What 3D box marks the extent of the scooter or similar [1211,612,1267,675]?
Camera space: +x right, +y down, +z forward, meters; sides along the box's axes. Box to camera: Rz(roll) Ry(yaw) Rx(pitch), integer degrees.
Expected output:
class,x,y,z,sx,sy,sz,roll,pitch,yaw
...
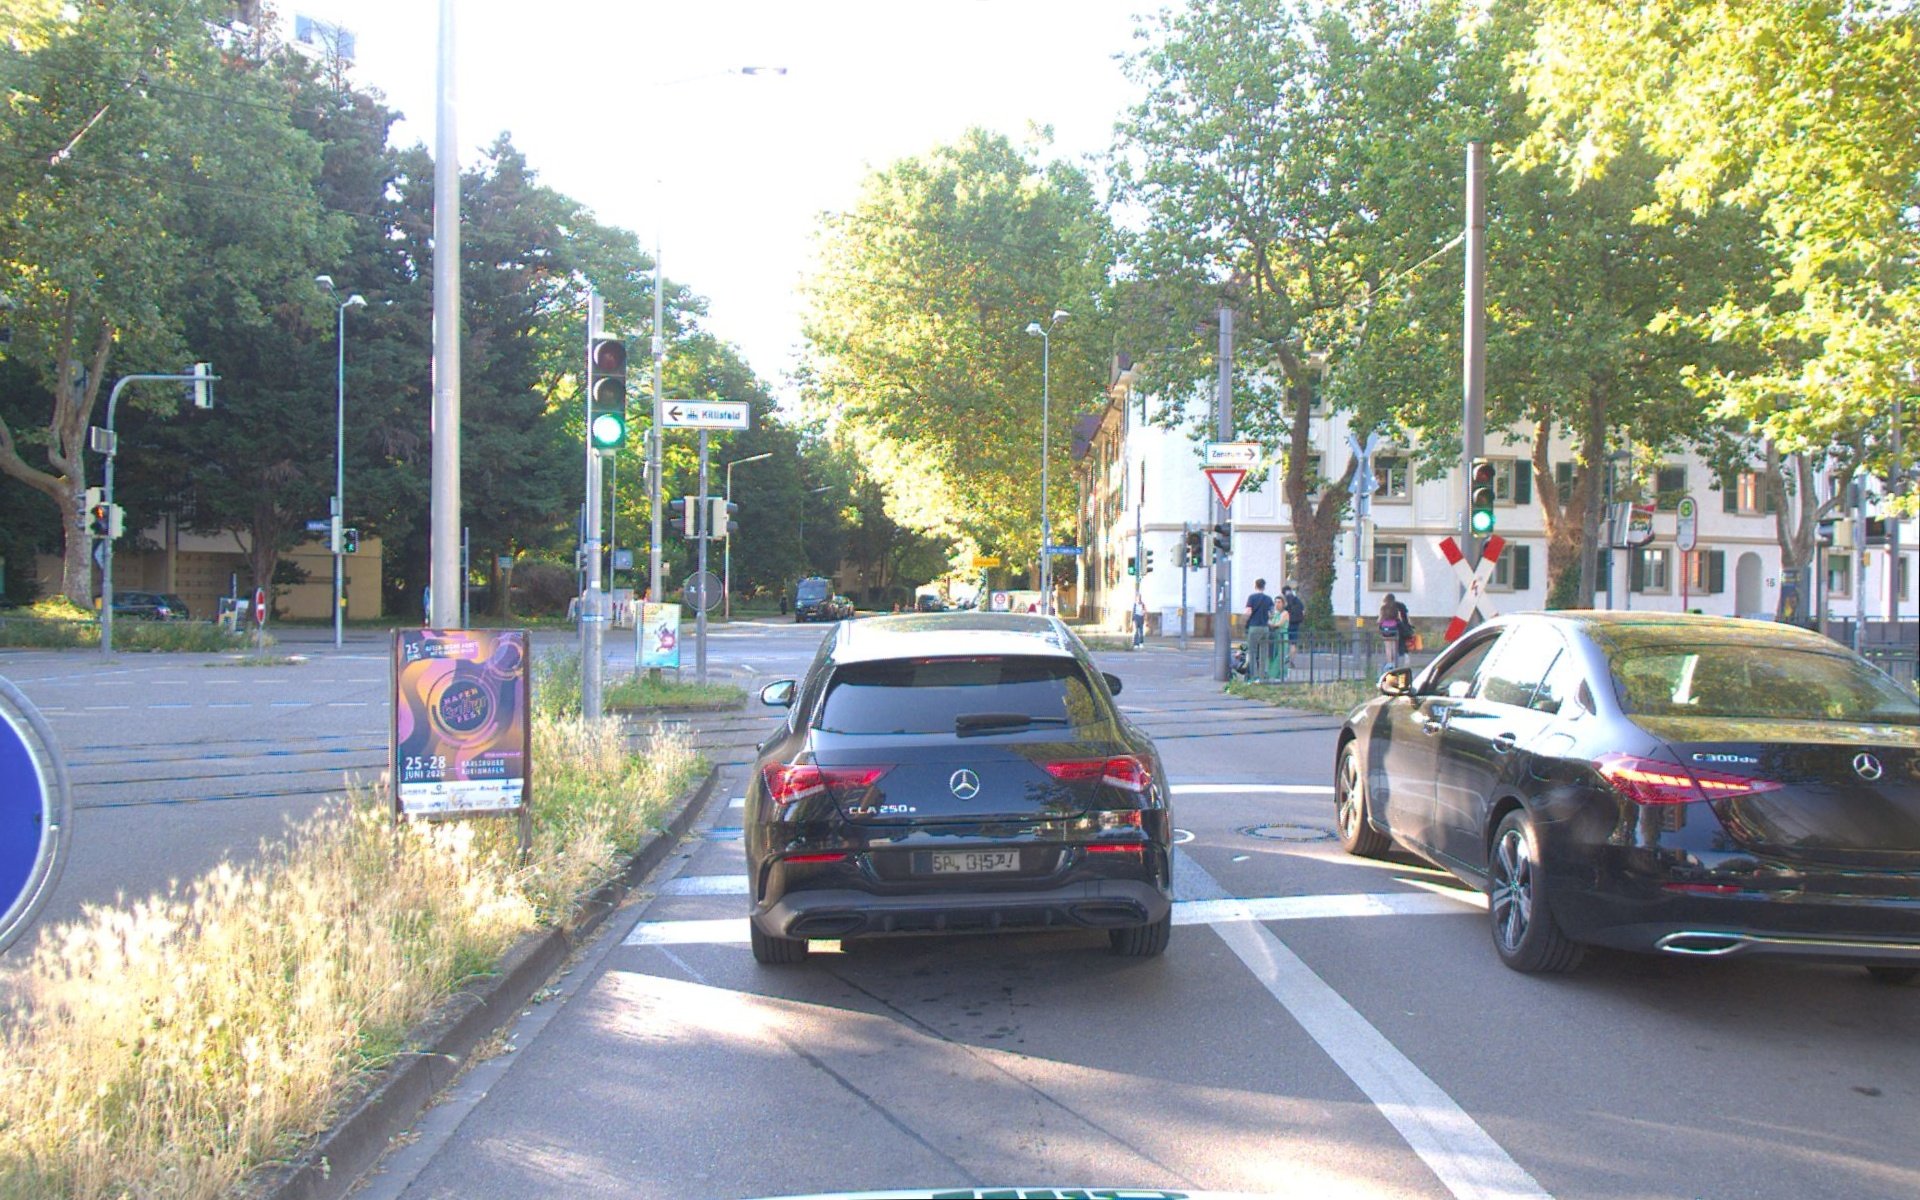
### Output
class,x,y,z,sx,sy,sz,roll,pitch,yaw
scooter or similar,5.120,0.799,30.413,0.812,1.124,0.808,1,-1,-6

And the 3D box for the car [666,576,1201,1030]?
class,x,y,z,sx,sy,sz,roll,pitch,yaw
car,-0.073,0.687,7.816,1.851,1.475,4.001,1,2,1

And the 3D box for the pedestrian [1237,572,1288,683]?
class,x,y,z,sx,sy,sz,roll,pitch,yaw
pedestrian,5.403,0.492,29.575,0.692,1.951,0.683,1,-1,-8

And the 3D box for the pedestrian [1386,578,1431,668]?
class,x,y,z,sx,sy,sz,roll,pitch,yaw
pedestrian,9.886,0.509,36.484,0.691,1.951,0.838,1,-1,-4

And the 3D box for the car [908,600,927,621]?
class,x,y,z,sx,sy,sz,roll,pitch,yaw
car,-3.838,0.942,149.996,1.698,1.796,4.018,1,-1,-1

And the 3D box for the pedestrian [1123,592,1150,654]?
class,x,y,z,sx,sy,sz,roll,pitch,yaw
pedestrian,5.622,0.745,52.749,0.691,1.951,0.838,1,-1,-4

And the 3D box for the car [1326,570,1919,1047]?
class,x,y,z,sx,sy,sz,roll,pitch,yaw
car,3.145,0.674,7.759,1.851,1.516,4.382,1,2,0

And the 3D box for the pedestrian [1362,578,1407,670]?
class,x,y,z,sx,sy,sz,roll,pitch,yaw
pedestrian,9.095,0.515,35.472,0.691,1.951,0.838,1,-1,-4

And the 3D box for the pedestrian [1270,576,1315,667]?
class,x,y,z,sx,sy,sz,roll,pitch,yaw
pedestrian,7.261,0.466,36.151,0.692,1.951,0.838,1,-1,-8

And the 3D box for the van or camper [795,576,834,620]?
class,x,y,z,sx,sy,sz,roll,pitch,yaw
van or camper,-8.713,-0.097,99.298,1.953,2.586,4.650,1,-1,-1

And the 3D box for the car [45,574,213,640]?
class,x,y,z,sx,sy,sz,roll,pitch,yaw
car,-24.340,0.205,48.548,3.902,1.805,2.001,1,-1,7

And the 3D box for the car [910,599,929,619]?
class,x,y,z,sx,sy,sz,roll,pitch,yaw
car,-3.879,0.866,158.080,1.698,1.796,4.018,1,-1,-1

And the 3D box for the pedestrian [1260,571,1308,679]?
class,x,y,z,sx,sy,sz,roll,pitch,yaw
pedestrian,5.953,0.458,30.439,0.669,1.951,0.706,1,-1,-5

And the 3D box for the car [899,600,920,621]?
class,x,y,z,sx,sy,sz,roll,pitch,yaw
car,-4.416,0.951,145.167,1.698,1.796,4.018,1,-1,-1

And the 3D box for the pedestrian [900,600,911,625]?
class,x,y,z,sx,sy,sz,roll,pitch,yaw
pedestrian,-4.264,0.990,129.631,0.692,1.951,0.837,1,-1,-11
